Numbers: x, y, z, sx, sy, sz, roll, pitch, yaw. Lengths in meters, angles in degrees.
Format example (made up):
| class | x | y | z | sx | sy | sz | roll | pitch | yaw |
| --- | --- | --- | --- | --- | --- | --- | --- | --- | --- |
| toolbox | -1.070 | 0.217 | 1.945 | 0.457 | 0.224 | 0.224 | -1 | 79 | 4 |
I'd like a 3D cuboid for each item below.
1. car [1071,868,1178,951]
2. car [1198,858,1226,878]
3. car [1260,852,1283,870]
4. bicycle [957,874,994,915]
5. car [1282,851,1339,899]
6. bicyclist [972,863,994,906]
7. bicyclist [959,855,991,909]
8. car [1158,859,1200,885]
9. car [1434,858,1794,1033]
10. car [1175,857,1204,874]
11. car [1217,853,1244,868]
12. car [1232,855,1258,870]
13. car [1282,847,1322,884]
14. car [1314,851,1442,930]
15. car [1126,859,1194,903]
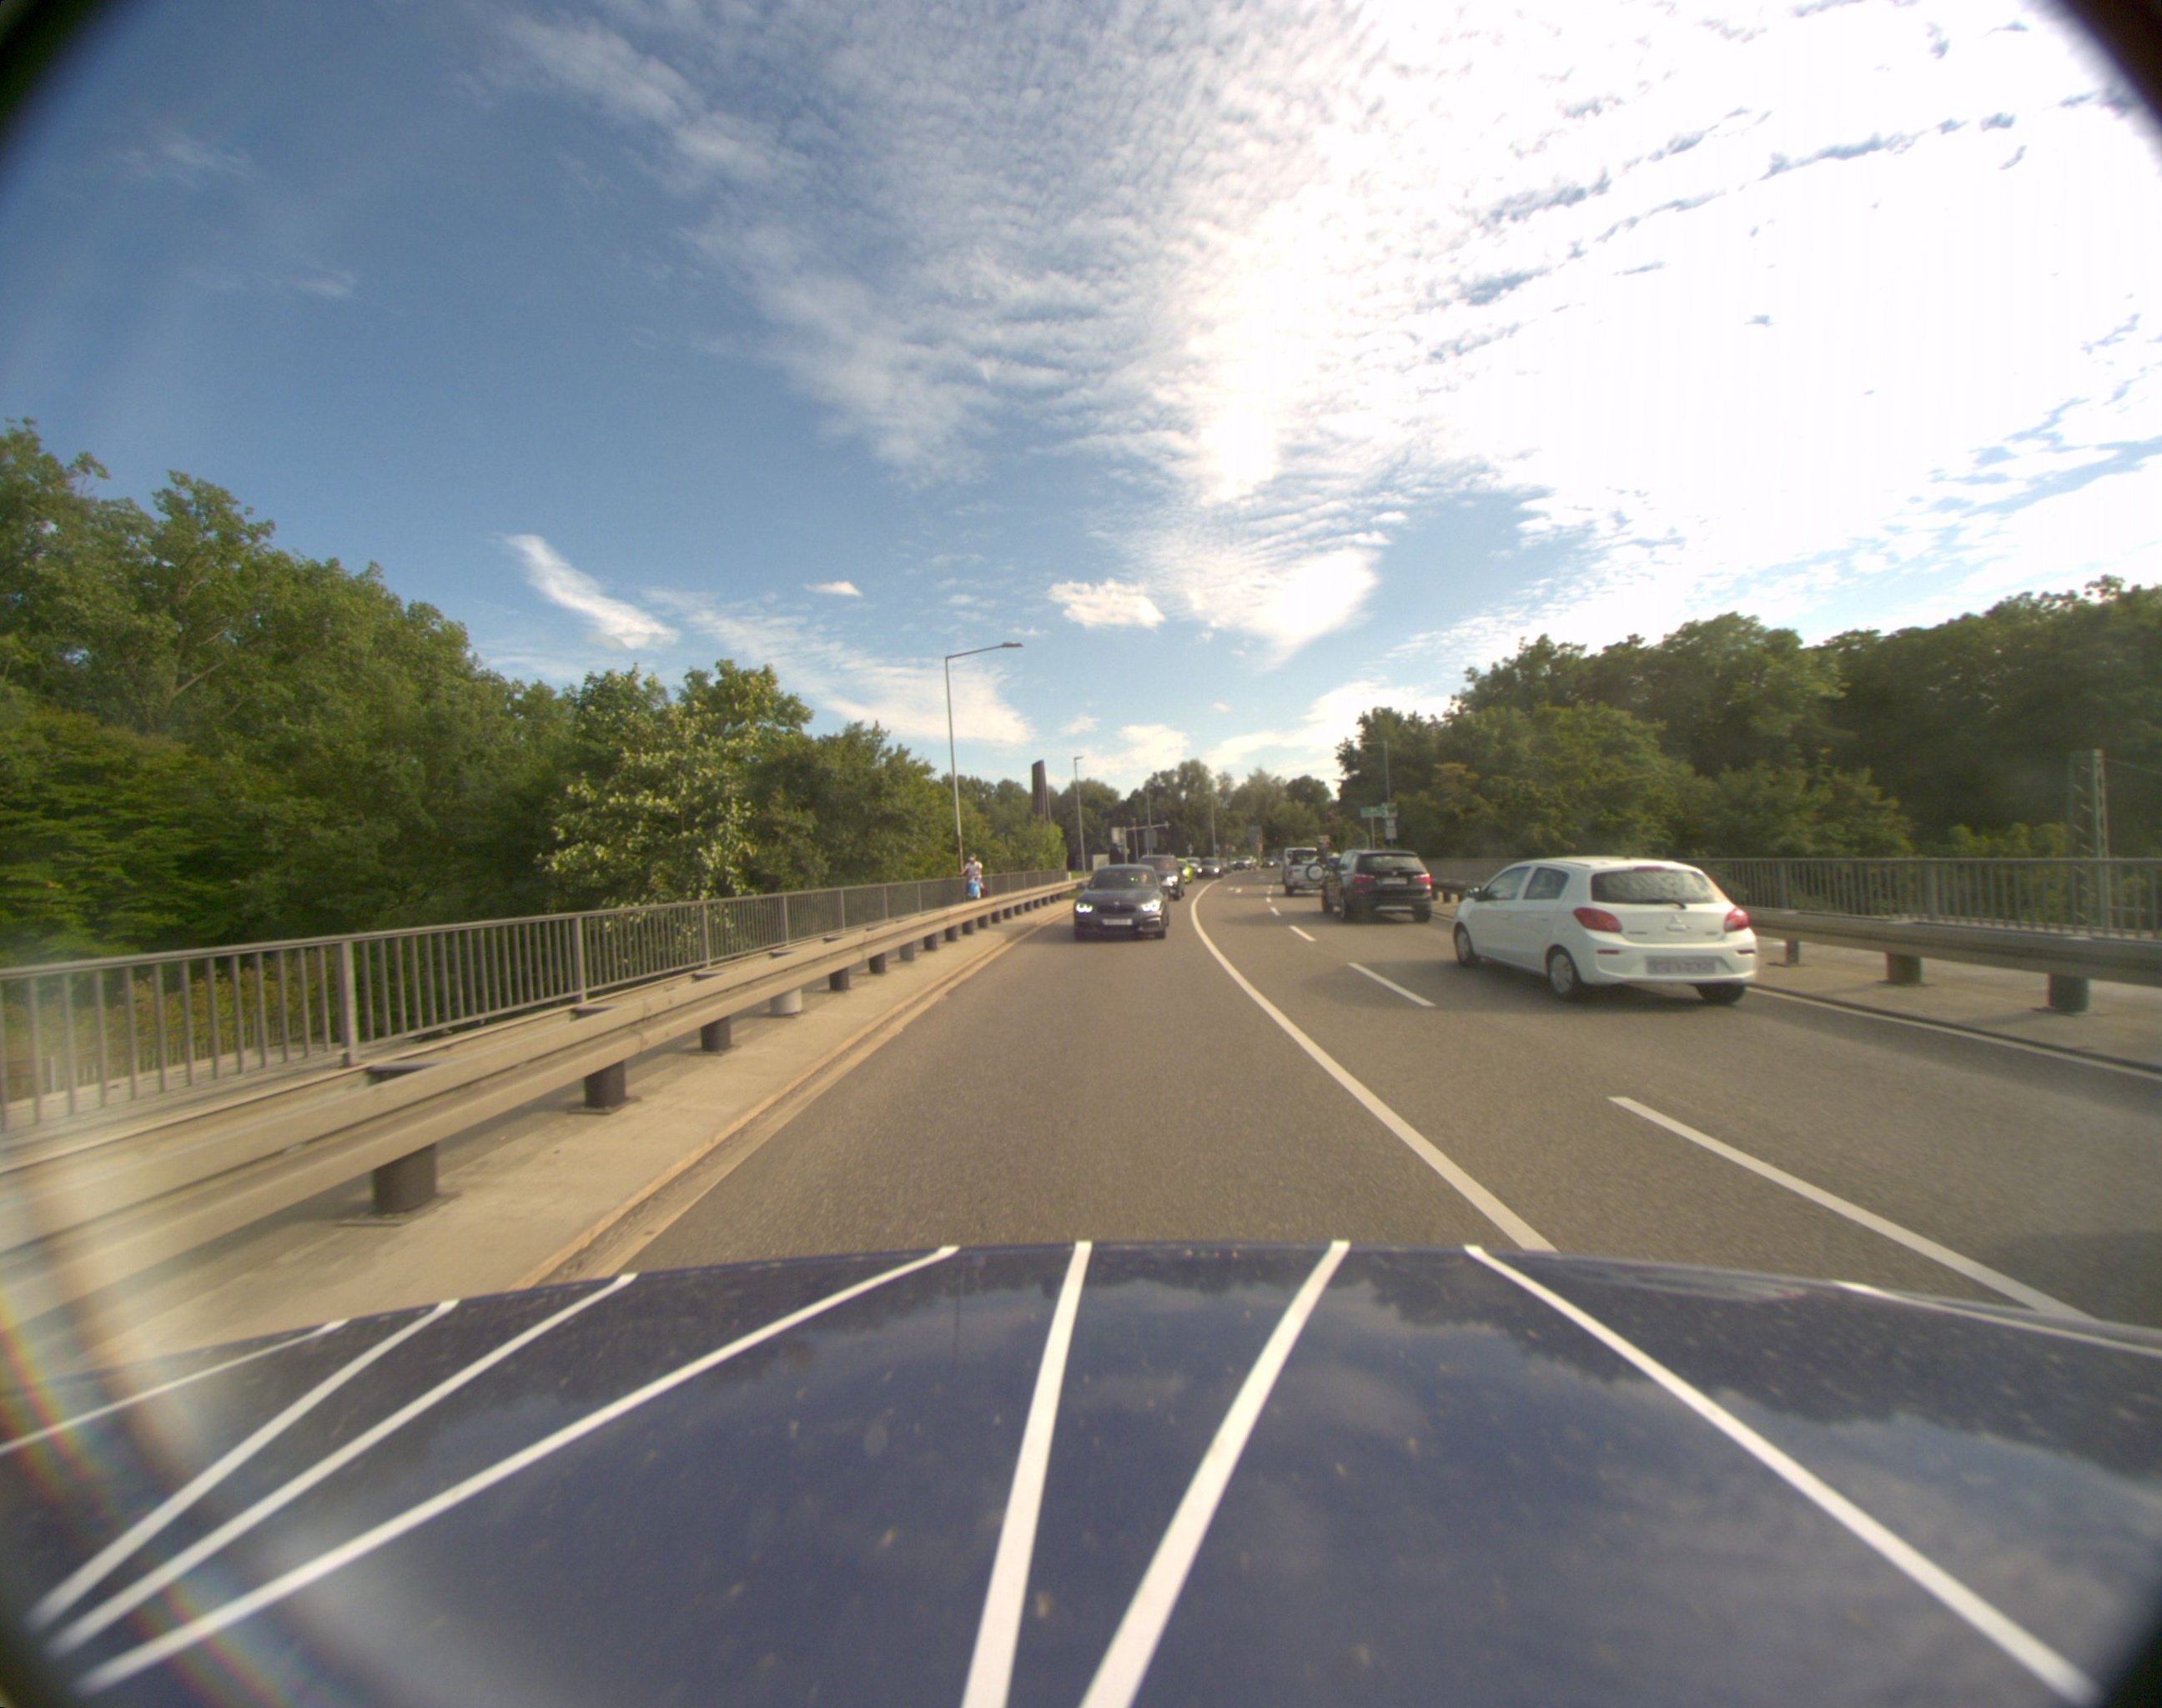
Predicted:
| class | x | y | z | sx | sy | sz | roll | pitch | yaw |
| --- | --- | --- | --- | --- | --- | --- | --- | --- | --- |
| car | 1.024 | 1.039 | 15.638 | 1.785 | 1.396 | 3.973 | -1 | 0 | 9 |
| car | 9.314 | 0.979 | 53.666 | 1.689 | 1.315 | 3.788 | -1 | 0 | 13 |
| car | 23.659 | 0.846 | 94.404 | 1.995 | 2.002 | 4.279 | -1 | 0 | 24 |
| bicycle | -3.124 | 1.191 | 22.602 | 0.597 | 1.114 | 1.698 | -1 | 1 | 9 |
| car | 8.854 | 0.758 | 29.570 | 1.776 | 1.736 | 3.840 | -1 | 0 | 12 |
| bicyclist | -2.989 | 0.918 | 23.144 | 0.500 | 1.294 | 0.539 | -1 | 1 | 9 |
| bicyclist | -3.148 | 0.814 | 22.585 | 0.708 | 1.548 | 0.754 | -1 | 1 | 9 |
| car | 5.737 | 0.995 | 44.036 | 1.816 | 1.396 | 4.396 | -1 | 0 | 15 |
| car | 5.694 | 0.843 | 8.801 | 1.686 | 1.536 | 3.924 | -1 | 0 | 6 |
| car | 8.813 | 0.919 | 61.569 | 1.688 | 1.315 | 3.789 | -1 | 0 | 18 |
| car | 13.490 | 0.581 | 68.578 | 1.688 | 1.315 | 3.790 | -1 | 0 | 21 |
| car | 18.360 | 0.938 | 85.047 | 1.995 | 1.591 | 4.288 | -1 | 0 | 23 |
| car | 12.273 | 0.606 | 42.391 | 1.988 | 1.953 | 5.054 | -1 | 0 | 15 |
| car | 6.992 | 0.787 | 18.405 | 1.873 | 1.656 | 4.632 | -1 | 0 | 8 |
| car | 3.079 | 0.980 | 28.788 | 1.816 | 1.498 | 4.396 | -1 | 0 | 15 |
